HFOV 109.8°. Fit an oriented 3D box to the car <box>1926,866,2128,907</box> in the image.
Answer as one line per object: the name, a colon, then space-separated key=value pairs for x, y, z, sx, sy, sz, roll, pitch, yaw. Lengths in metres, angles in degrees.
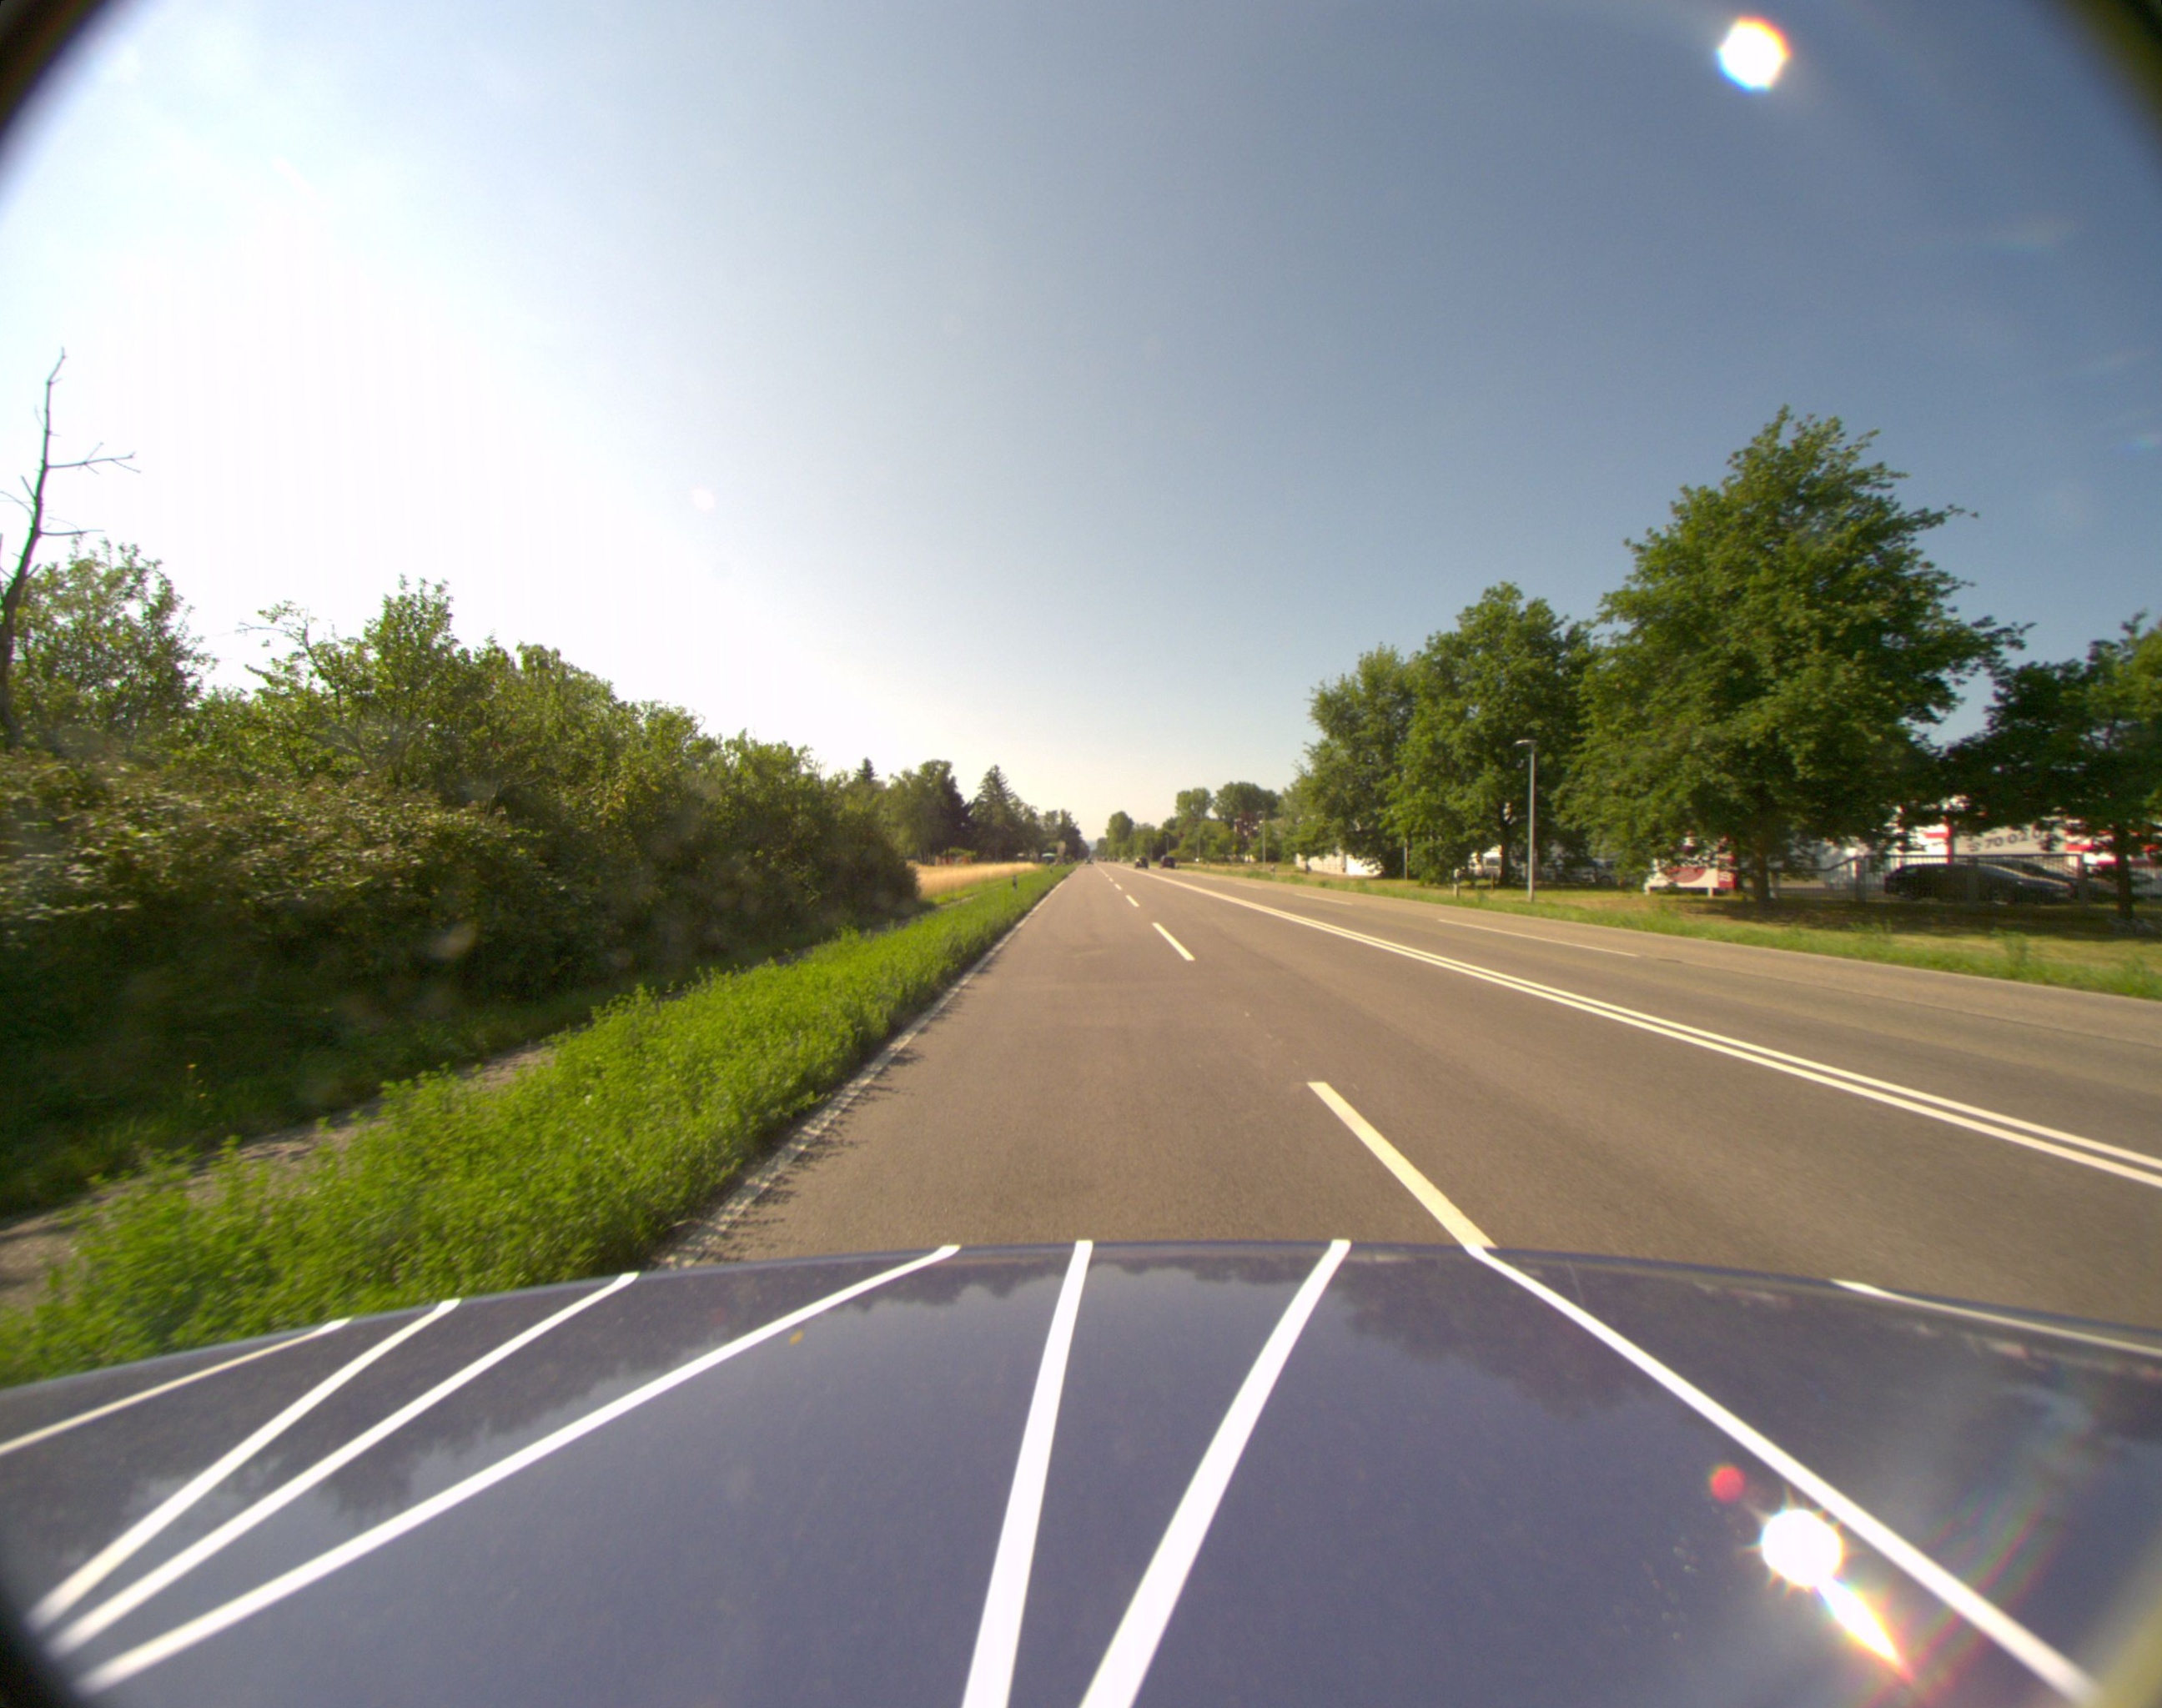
car: x=35.796 y=1.176 z=28.995 sx=1.792 sy=1.341 sz=4.662 roll=1 pitch=0 yaw=-2

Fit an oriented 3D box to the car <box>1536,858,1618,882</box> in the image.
car: x=31.109 y=0.996 z=47.747 sx=3.997 sy=1.492 sz=1.757 roll=0 pitch=0 yaw=0

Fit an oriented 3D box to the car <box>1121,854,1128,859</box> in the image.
car: x=11.835 y=0.729 z=207.651 sx=1.663 sy=1.429 sz=3.735 roll=1 pitch=0 yaw=0

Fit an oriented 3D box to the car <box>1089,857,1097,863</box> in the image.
car: x=2.699 y=1.296 z=167.708 sx=1.768 sy=1.403 sz=4.001 roll=0 pitch=-1 yaw=1

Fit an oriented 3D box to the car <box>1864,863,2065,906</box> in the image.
car: x=31.834 y=1.042 z=27.642 sx=1.792 sy=1.341 sz=4.662 roll=1 pitch=0 yaw=-2

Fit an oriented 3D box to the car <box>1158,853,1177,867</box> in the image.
car: x=10.993 y=0.745 z=96.676 sx=1.830 sy=1.662 sz=4.389 roll=1 pitch=0 yaw=0

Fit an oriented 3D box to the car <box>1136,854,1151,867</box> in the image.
car: x=7.754 y=0.797 z=94.623 sx=1.520 sy=1.442 sz=3.775 roll=1 pitch=0 yaw=0

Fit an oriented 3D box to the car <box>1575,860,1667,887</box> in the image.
car: x=30.975 y=1.100 z=43.655 sx=3.997 sy=1.492 sz=1.757 roll=0 pitch=0 yaw=0
